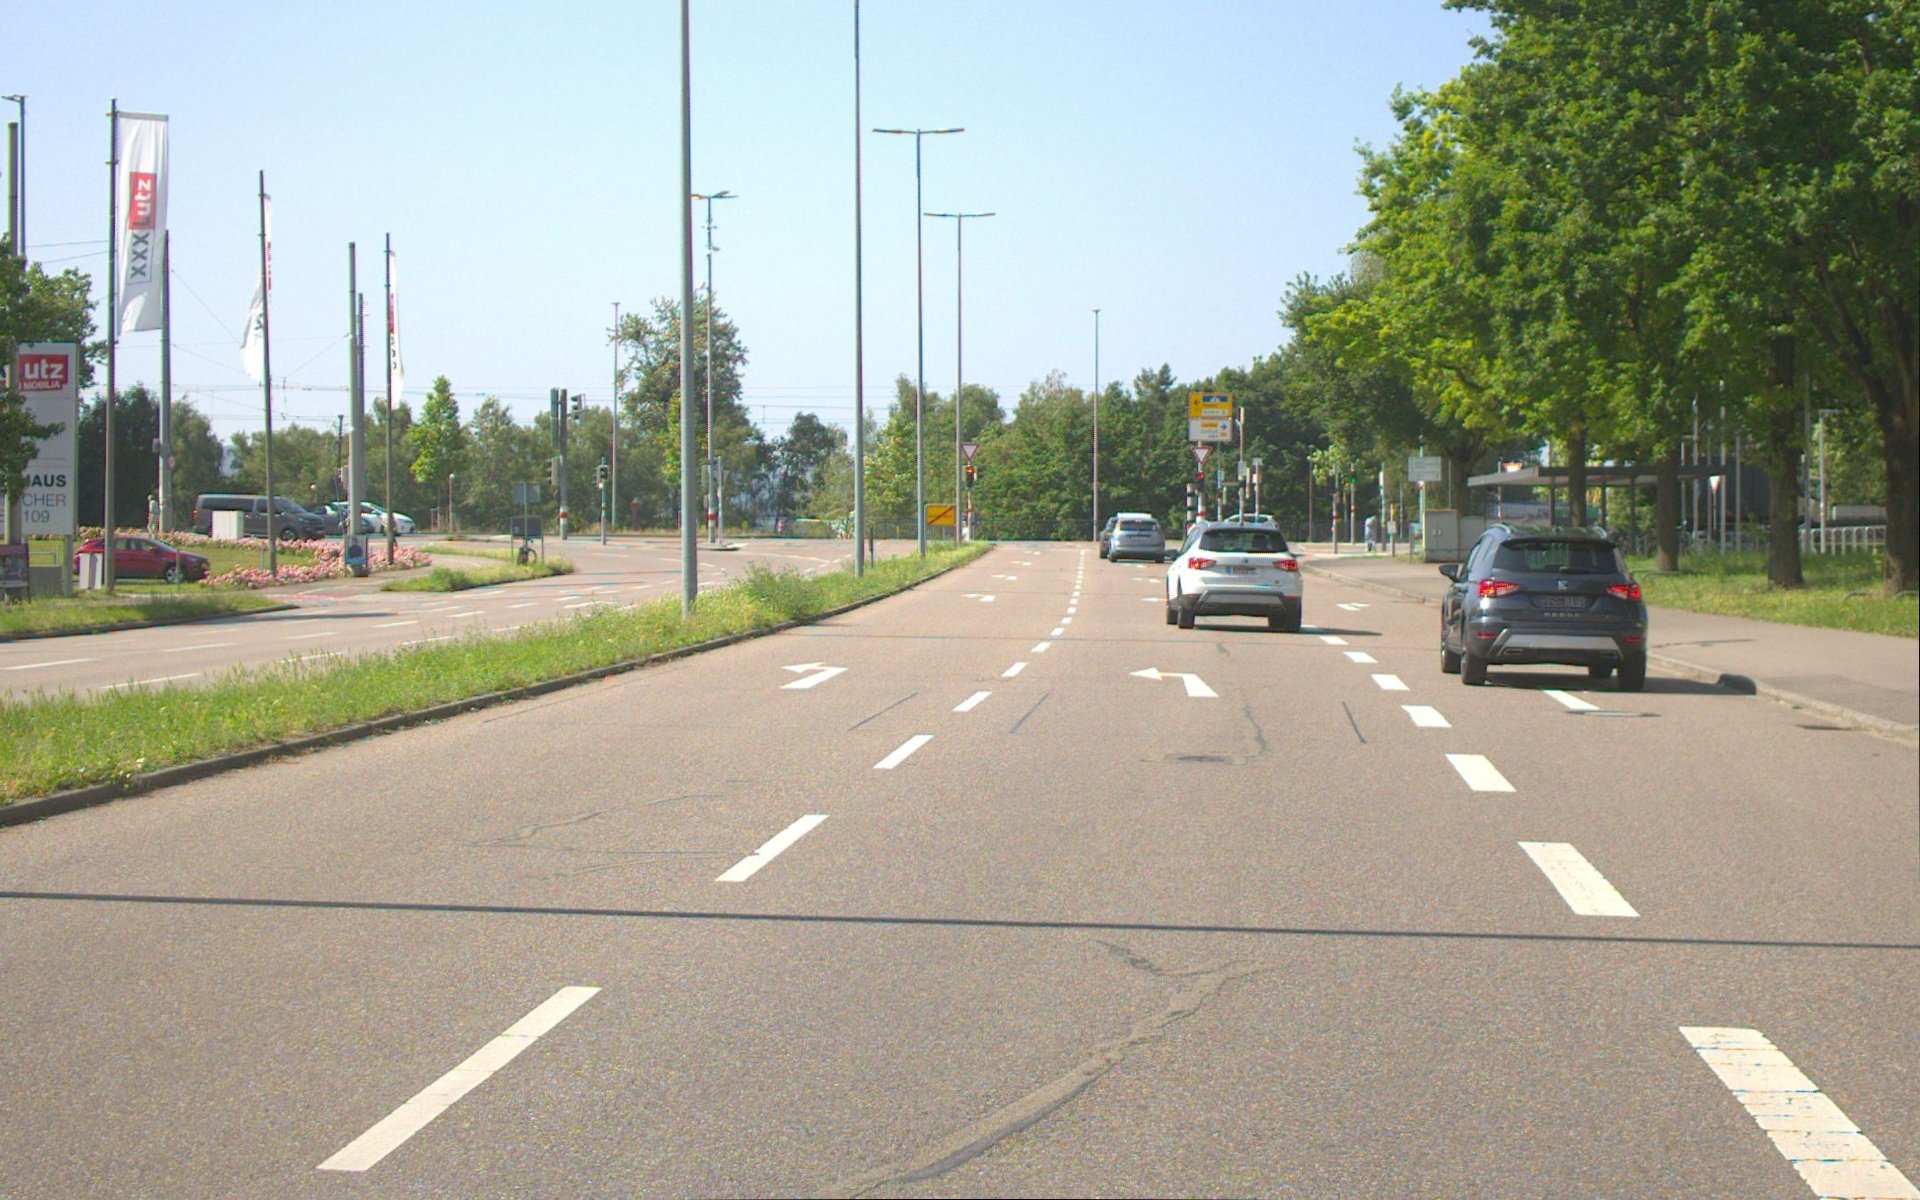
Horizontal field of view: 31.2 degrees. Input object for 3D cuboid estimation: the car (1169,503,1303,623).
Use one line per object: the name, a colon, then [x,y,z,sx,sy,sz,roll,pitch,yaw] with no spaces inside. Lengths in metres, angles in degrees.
car: [3.899,-0.558,49.110,1.631,1.492,3.870,1,4,1]

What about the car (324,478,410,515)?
car: [-24.930,-4.345,144.615,3.386,1.495,1.410,0,0,0]

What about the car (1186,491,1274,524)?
car: [13.021,-4.456,165.857,4.073,1.541,1.800,0,1,-1]

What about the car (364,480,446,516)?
car: [-23.906,-4.384,148.210,3.343,1.495,1.410,0,0,-2]

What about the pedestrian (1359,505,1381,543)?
pedestrian: [16.441,-3.050,137.743,0.773,1.505,1.007,0,3,13]

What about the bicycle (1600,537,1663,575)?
bicycle: [19.476,-1.276,99.726,1.758,1.092,0.452,0,2,2]

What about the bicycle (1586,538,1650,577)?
bicycle: [18.879,-1.221,98.653,1.758,1.092,0.452,0,2,2]

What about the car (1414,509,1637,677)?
car: [5.447,-0.106,33.459,1.670,1.518,3.377,1,2,2]

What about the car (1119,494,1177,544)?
car: [6.118,-2.646,112.135,1.706,1.567,4.174,-1,2,1]

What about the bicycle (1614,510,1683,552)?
bicycle: [18.534,-1.857,92.554,1.758,1.092,0.452,0,2,2]

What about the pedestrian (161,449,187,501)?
pedestrian: [-30.119,-4.793,131.745,0.716,1.965,0.918,0,0,7]

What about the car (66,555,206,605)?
car: [-27.104,-0.655,113.164,4.182,1.600,1.827,0,0,-2]

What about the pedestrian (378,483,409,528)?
pedestrian: [-21.282,-3.551,129.105,0.840,1.701,0.905,0,2,14]
